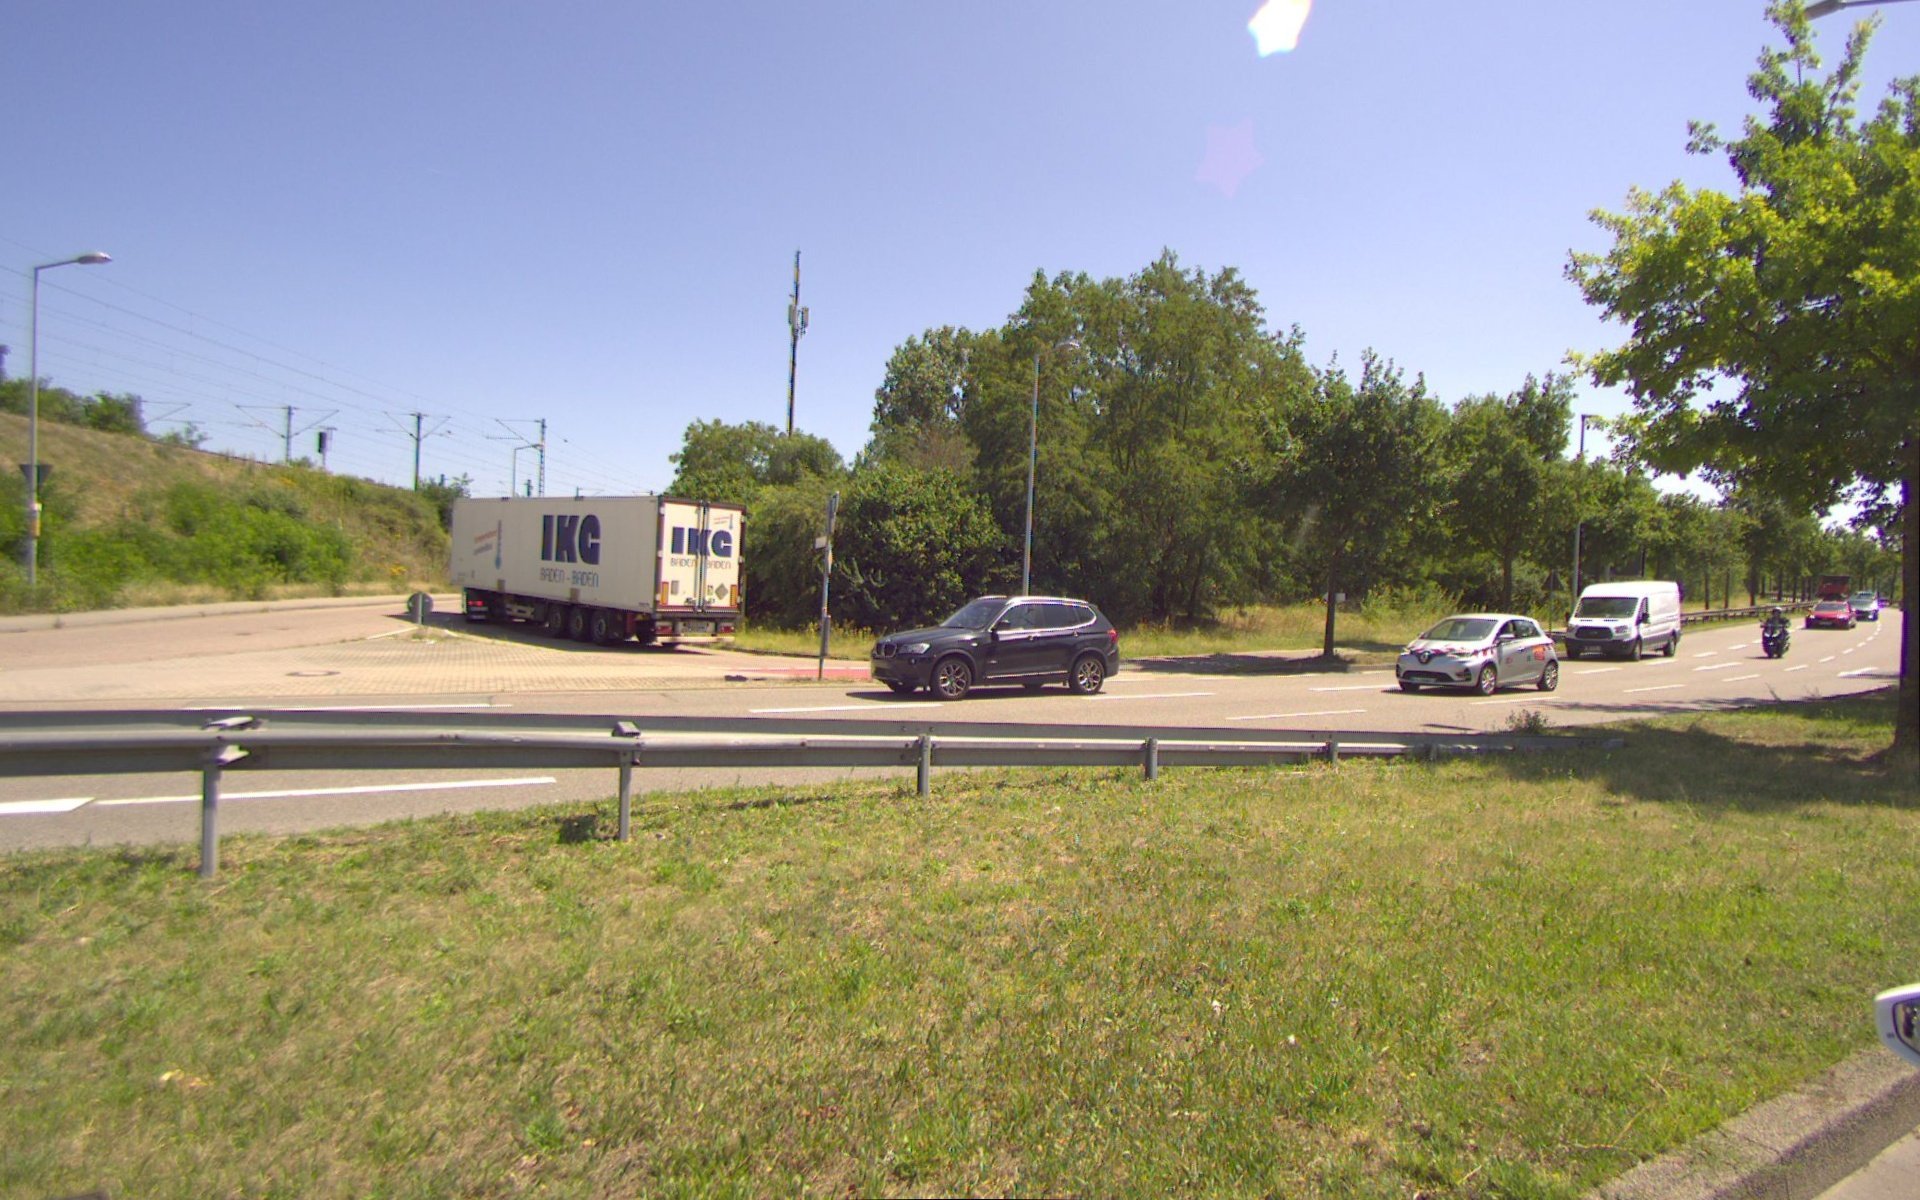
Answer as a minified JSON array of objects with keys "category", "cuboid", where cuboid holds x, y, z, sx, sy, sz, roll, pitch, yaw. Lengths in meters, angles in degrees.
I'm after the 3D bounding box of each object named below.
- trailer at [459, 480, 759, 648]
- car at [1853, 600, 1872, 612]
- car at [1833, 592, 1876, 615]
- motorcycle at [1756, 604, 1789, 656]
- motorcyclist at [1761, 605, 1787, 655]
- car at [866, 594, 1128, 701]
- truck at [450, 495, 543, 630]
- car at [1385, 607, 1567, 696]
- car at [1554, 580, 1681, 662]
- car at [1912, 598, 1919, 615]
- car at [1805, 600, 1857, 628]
[{"category":"trailer","cuboid":[-10.968,-0.935,30.019,12.525,4.104,3.004,1,1,43]},{"category":"car","cuboid":[92.514,0.595,102.978,1.306,1.154,2.981,2,0,40]},{"category":"car","cuboid":[58.569,0.247,65.750,4.539,1.351,1.791,2,0,-45]},{"category":"motorcycle","cuboid":[27.328,1.005,33.760,0.591,1.700,2.410,2,0,44]},{"category":"motorcyclist","cuboid":[27.362,1.017,33.782,0.559,1.648,0.581,2,0,-44]},{"category":"car","cuboid":[0.703,0.767,17.252,4.423,1.654,1.480,1,0,-32]},{"category":"truck","cuboid":[-15.686,-1.161,33.933,2.518,4.075,6.228,2,0,-26]},{"category":"car","cuboid":[10.456,0.965,20.256,4.032,1.588,1.623,0,0,-36]},{"category":"car","cuboid":[22.104,0.648,33.646,5.763,2.534,2.076,0,0,-41]},{"category":"car","cuboid":[81.264,0.545,84.596,1.401,1.331,3.321,2,0,40]},{"category":"car","cuboid":[47.379,0.787,54.600,1.812,1.456,4.497,-1,-2,45]}]
